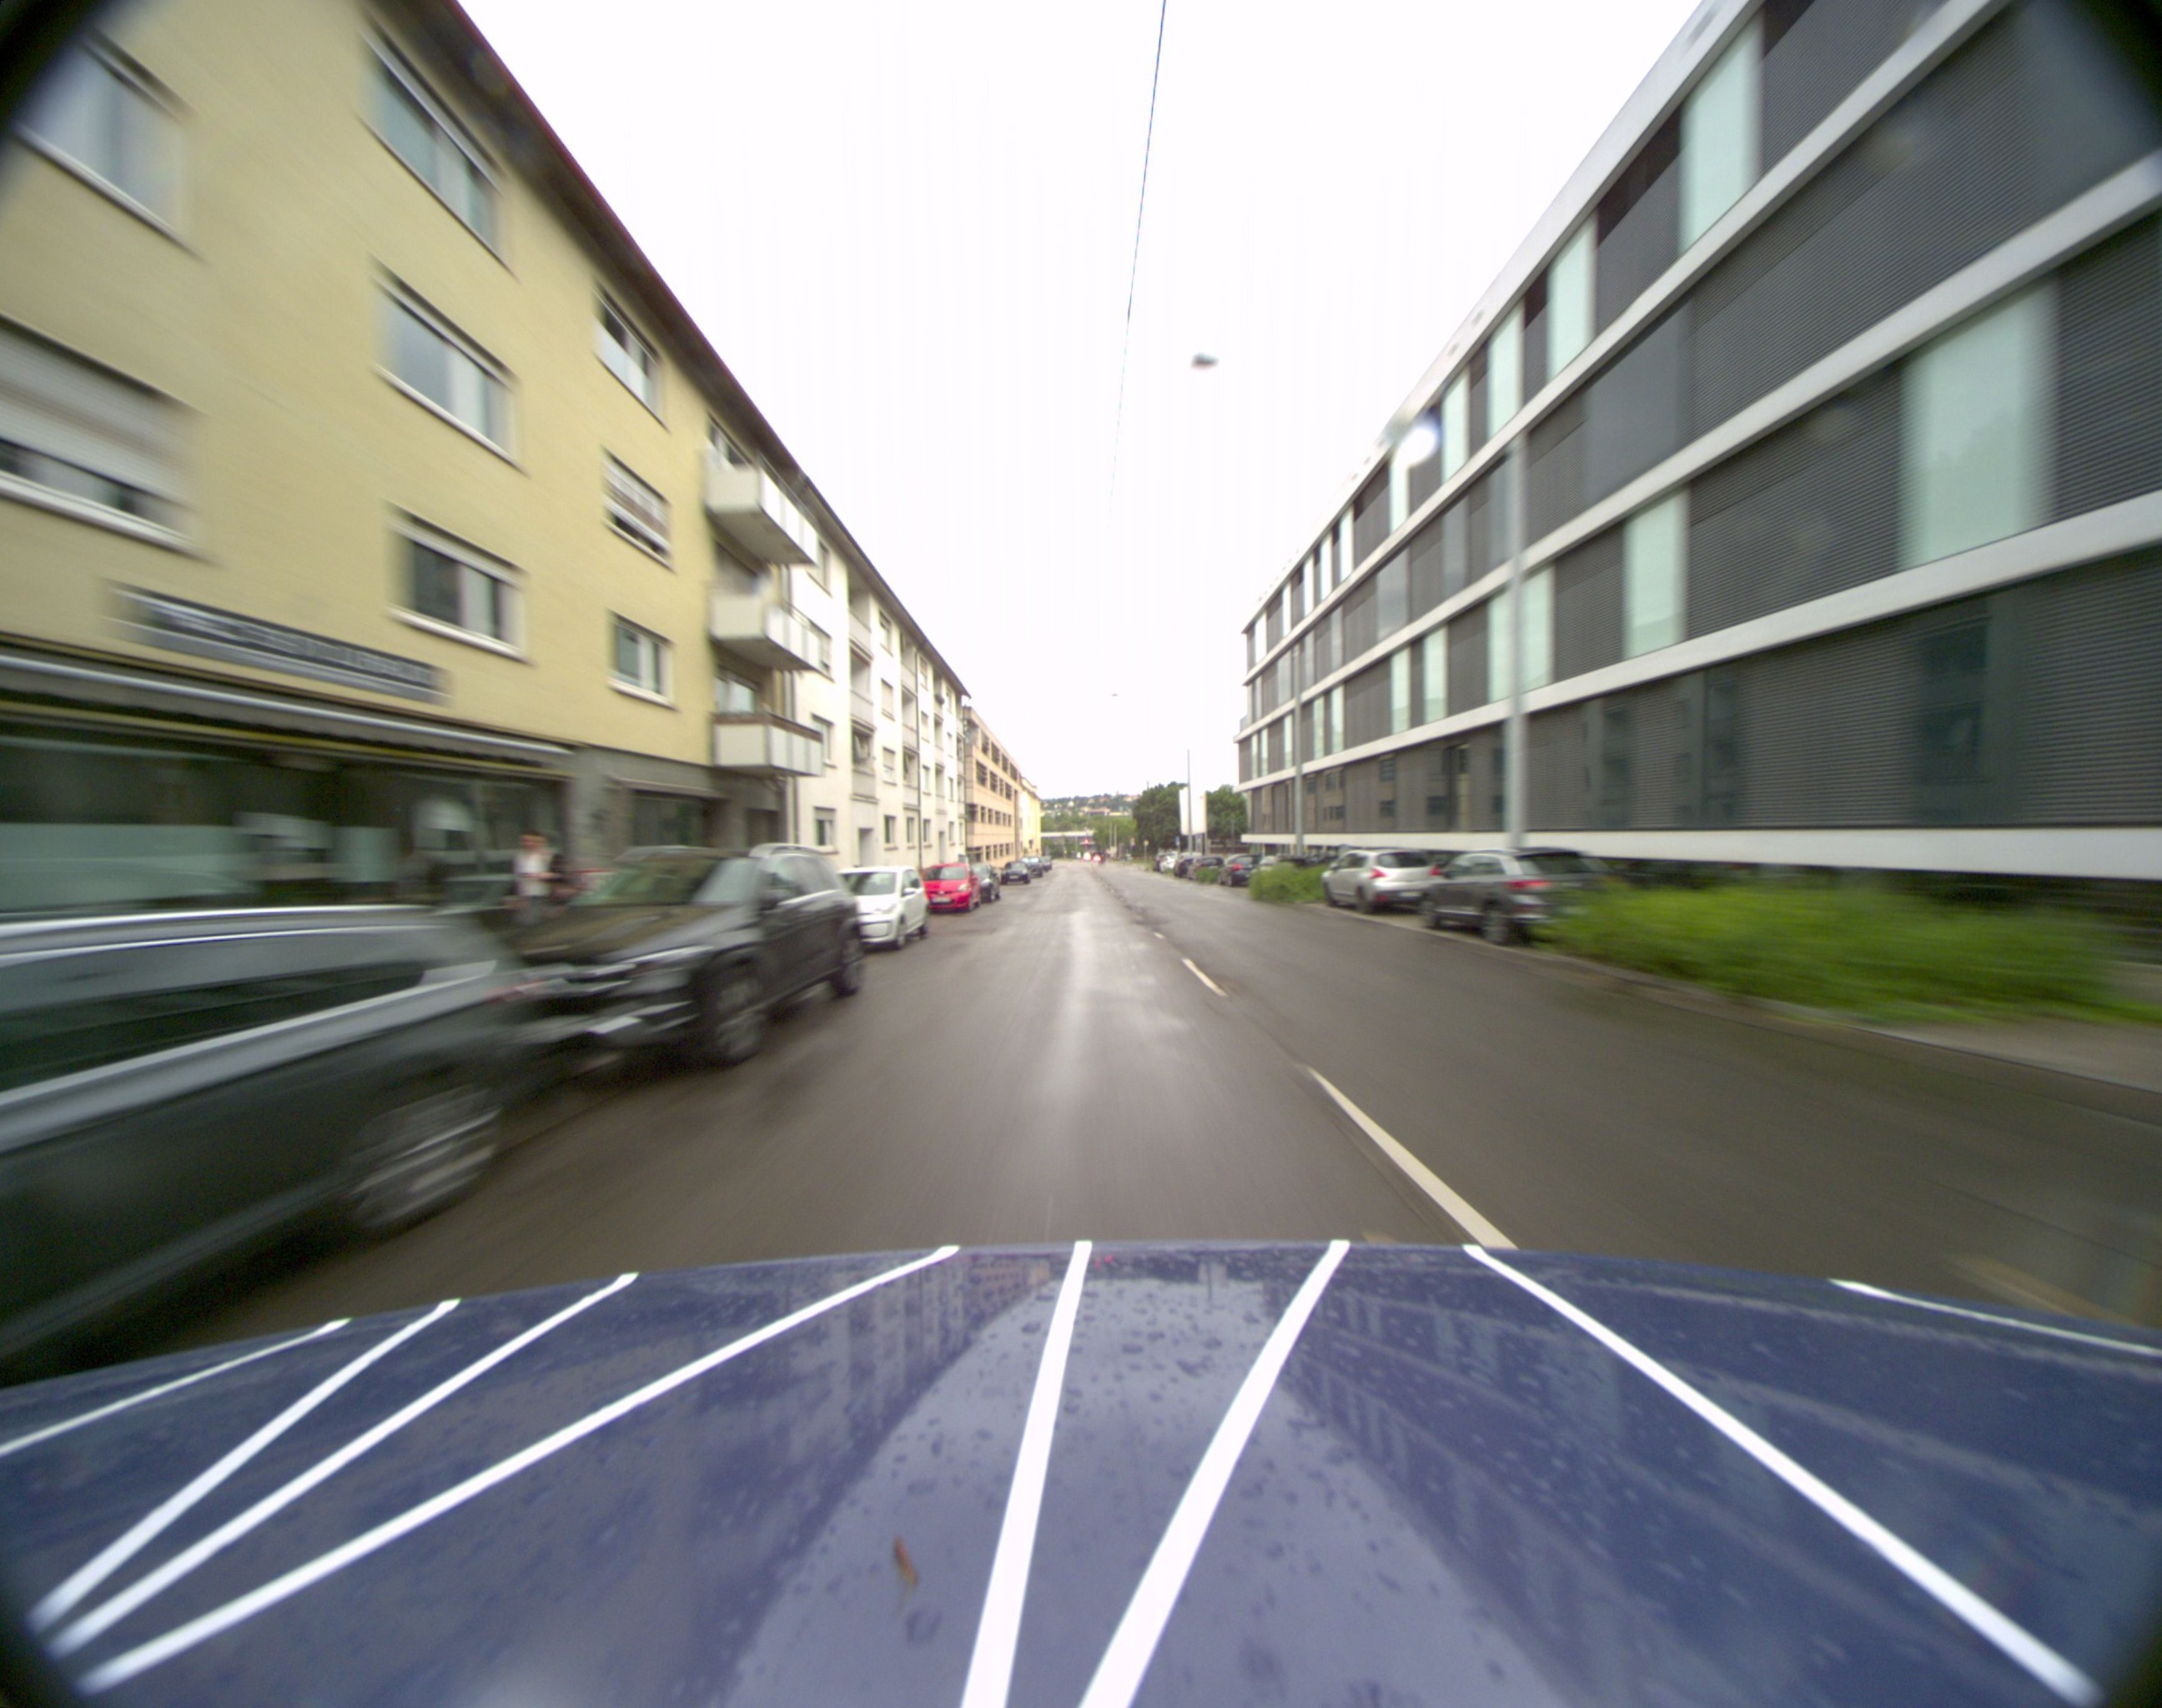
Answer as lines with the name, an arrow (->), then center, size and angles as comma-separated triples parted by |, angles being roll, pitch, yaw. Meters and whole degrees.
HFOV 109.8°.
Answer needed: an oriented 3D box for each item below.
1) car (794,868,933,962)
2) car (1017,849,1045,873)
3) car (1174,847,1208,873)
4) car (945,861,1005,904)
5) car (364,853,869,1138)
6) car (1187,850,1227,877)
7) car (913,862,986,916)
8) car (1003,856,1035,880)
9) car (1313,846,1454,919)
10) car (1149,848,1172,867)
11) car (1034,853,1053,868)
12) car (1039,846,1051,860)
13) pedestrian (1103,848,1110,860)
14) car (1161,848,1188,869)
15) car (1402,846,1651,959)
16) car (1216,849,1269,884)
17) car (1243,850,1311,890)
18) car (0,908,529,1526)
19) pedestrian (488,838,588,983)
car -> -4.005, 1.067, 14.568 | 1.630, 1.448, 3.483 | -2, 0, 0
car -> -4.048, 0.543, 62.586 | 1.911, 1.865, 4.749 | -2, 0, 0
car -> 7.239, 0.374, 50.399 | 1.642, 1.576, 4.041 | -2, 1, 0
car -> -3.881, 0.998, 28.343 | 1.630, 1.402, 3.777 | -2, 0, 0
car -> -3.656, 0.924, 7.218 | 1.968, 1.764, 4.512 | -2, 0, 0
car -> 7.340, 0.524, 44.430 | 1.642, 1.463, 4.041 | -2, 1, 0
car -> -3.987, 1.037, 23.531 | 1.630, 1.448, 3.483 | -2, 0, 0
car -> -3.884, 0.870, 47.994 | 1.630, 1.402, 3.777 | -2, 0, 0
car -> 7.557, 0.624, 19.503 | 1.835, 1.580, 4.362 | -3, 1, 0
car -> 7.026, 0.261, 67.363 | 1.642, 1.576, 4.041 | -2, 1, 0
car -> -3.856, 0.638, 78.771 | 1.799, 1.501, 4.000 | -2, 0, 0
car -> -6.627, -0.198, 139.875 | 1.891, 2.447, 4.512 | -2, 1, 0
pedestrian -> 3.565, 0.048, 106.925 | 0.651, 1.652, 0.648 | -2, 1, -36
car -> 7.409, 0.295, 60.510 | 1.642, 1.576, 4.041 | -2, 1, 0
car -> 7.482, 0.693, 13.378 | 1.887, 1.580, 4.363 | -3, 1, 2
car -> 7.463, 0.531, 35.452 | 1.565, 1.463, 4.041 | -2, 1, 0
car -> 7.501, 0.564, 29.421 | 1.565, 1.385, 4.041 | -2, 1, 0
car -> -3.819, 1.076, 1.815 | 1.797, 1.511, 4.511 | -1, 0, -2
pedestrian -> -6.914, 0.698, 9.705 | 0.715, 1.763, 0.748 | 2, 1, 0
